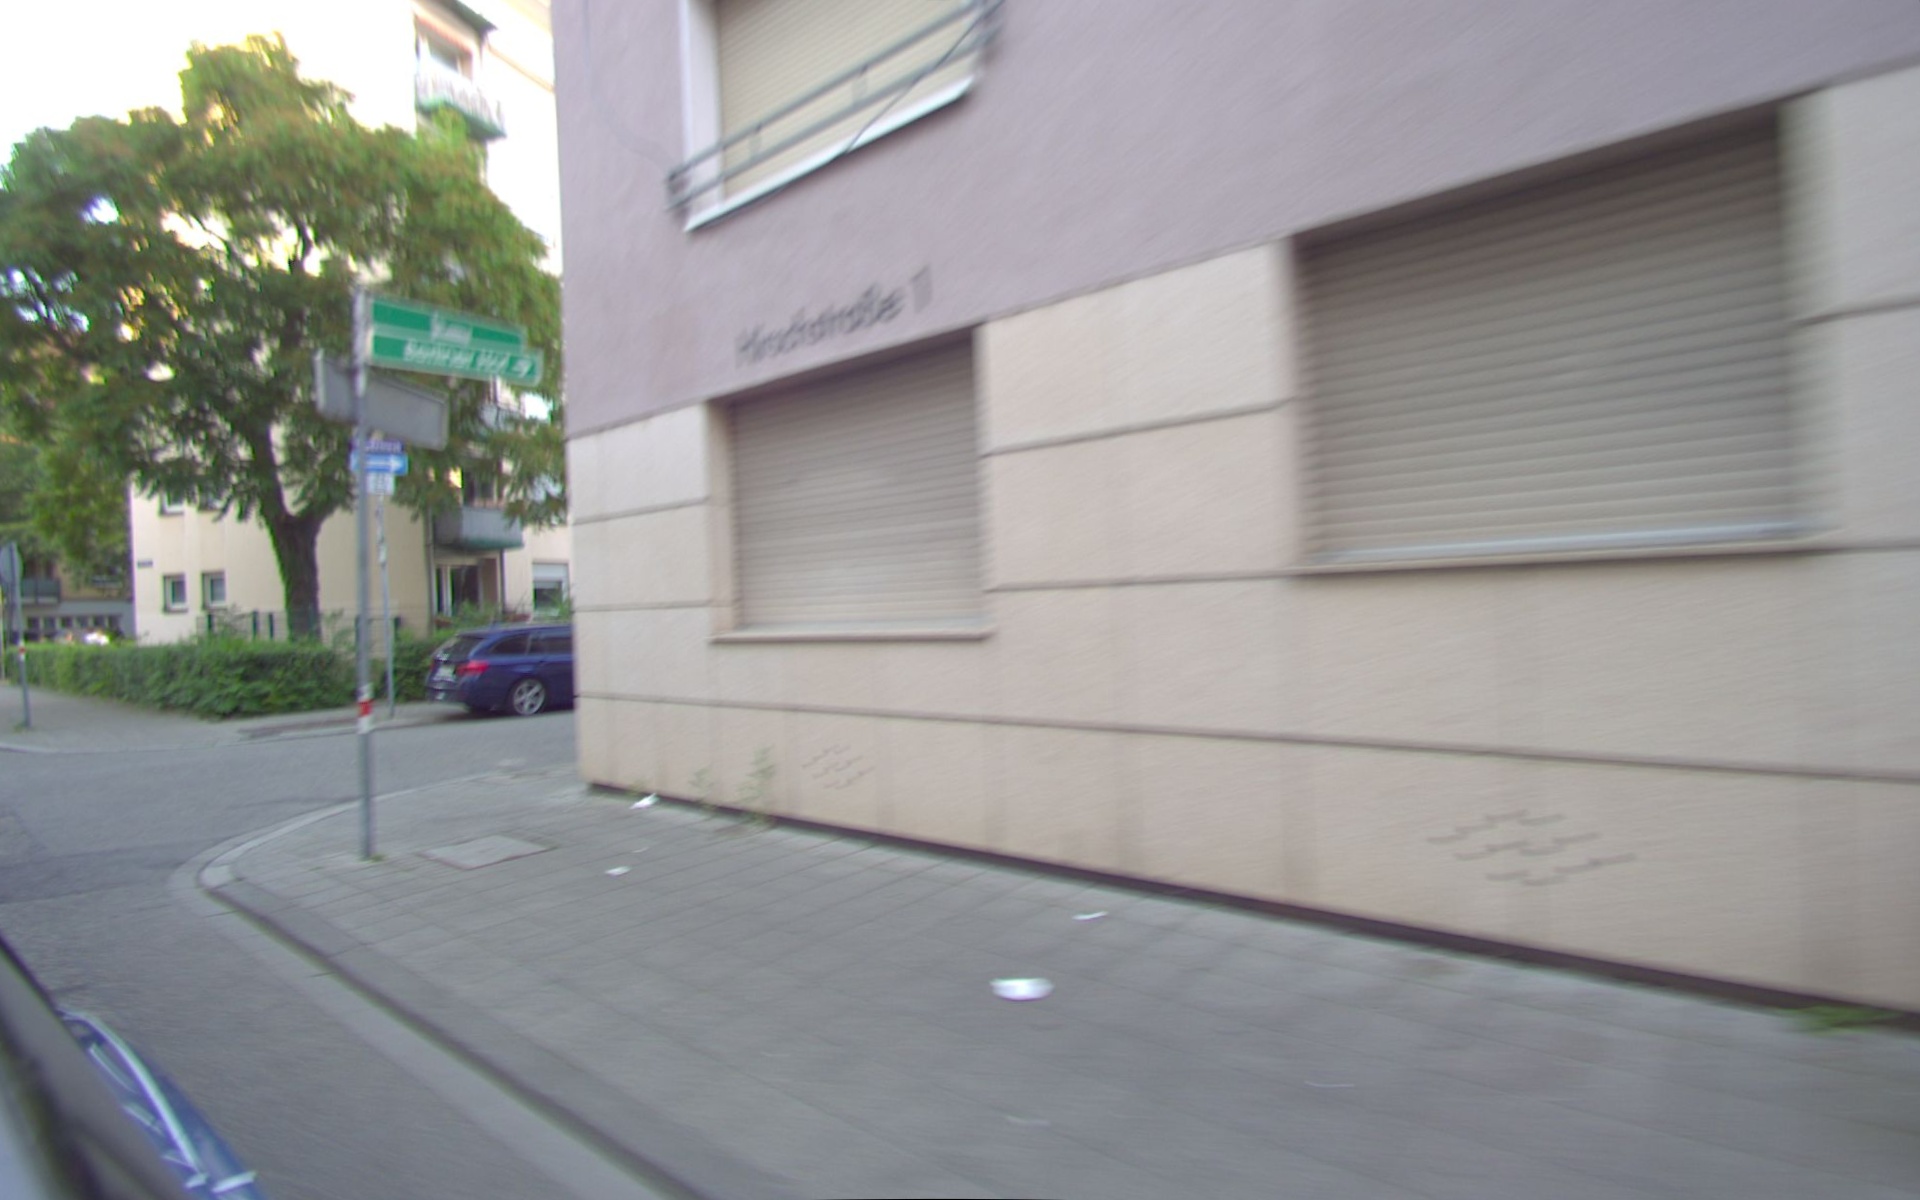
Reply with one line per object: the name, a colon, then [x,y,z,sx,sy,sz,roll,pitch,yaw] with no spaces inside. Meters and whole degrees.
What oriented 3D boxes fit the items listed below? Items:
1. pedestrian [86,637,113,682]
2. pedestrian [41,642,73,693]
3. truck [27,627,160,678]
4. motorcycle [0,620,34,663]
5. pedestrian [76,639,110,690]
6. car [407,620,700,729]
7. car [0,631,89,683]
pedestrian: [-30.994,2.143,36.443,0.657,1.583,0.445,-3,0,24]
pedestrian: [-32.708,2.433,36.657,0.687,1.801,0.531,-3,-1,-21]
truck: [-42.393,2.506,49.525,5.977,2.149,2.247,1,1,19]
motorcycle: [-35.401,1.552,37.496,2.208,1.505,0.686,-3,-1,21]
pedestrian: [-31.657,2.357,36.972,0.694,1.801,0.660,-3,-1,23]
car: [-6.720,1.158,17.128,1.684,1.469,4.301,-3,-1,39]
car: [-43.032,2.599,46.889,4.599,2.149,2.024,1,1,19]
